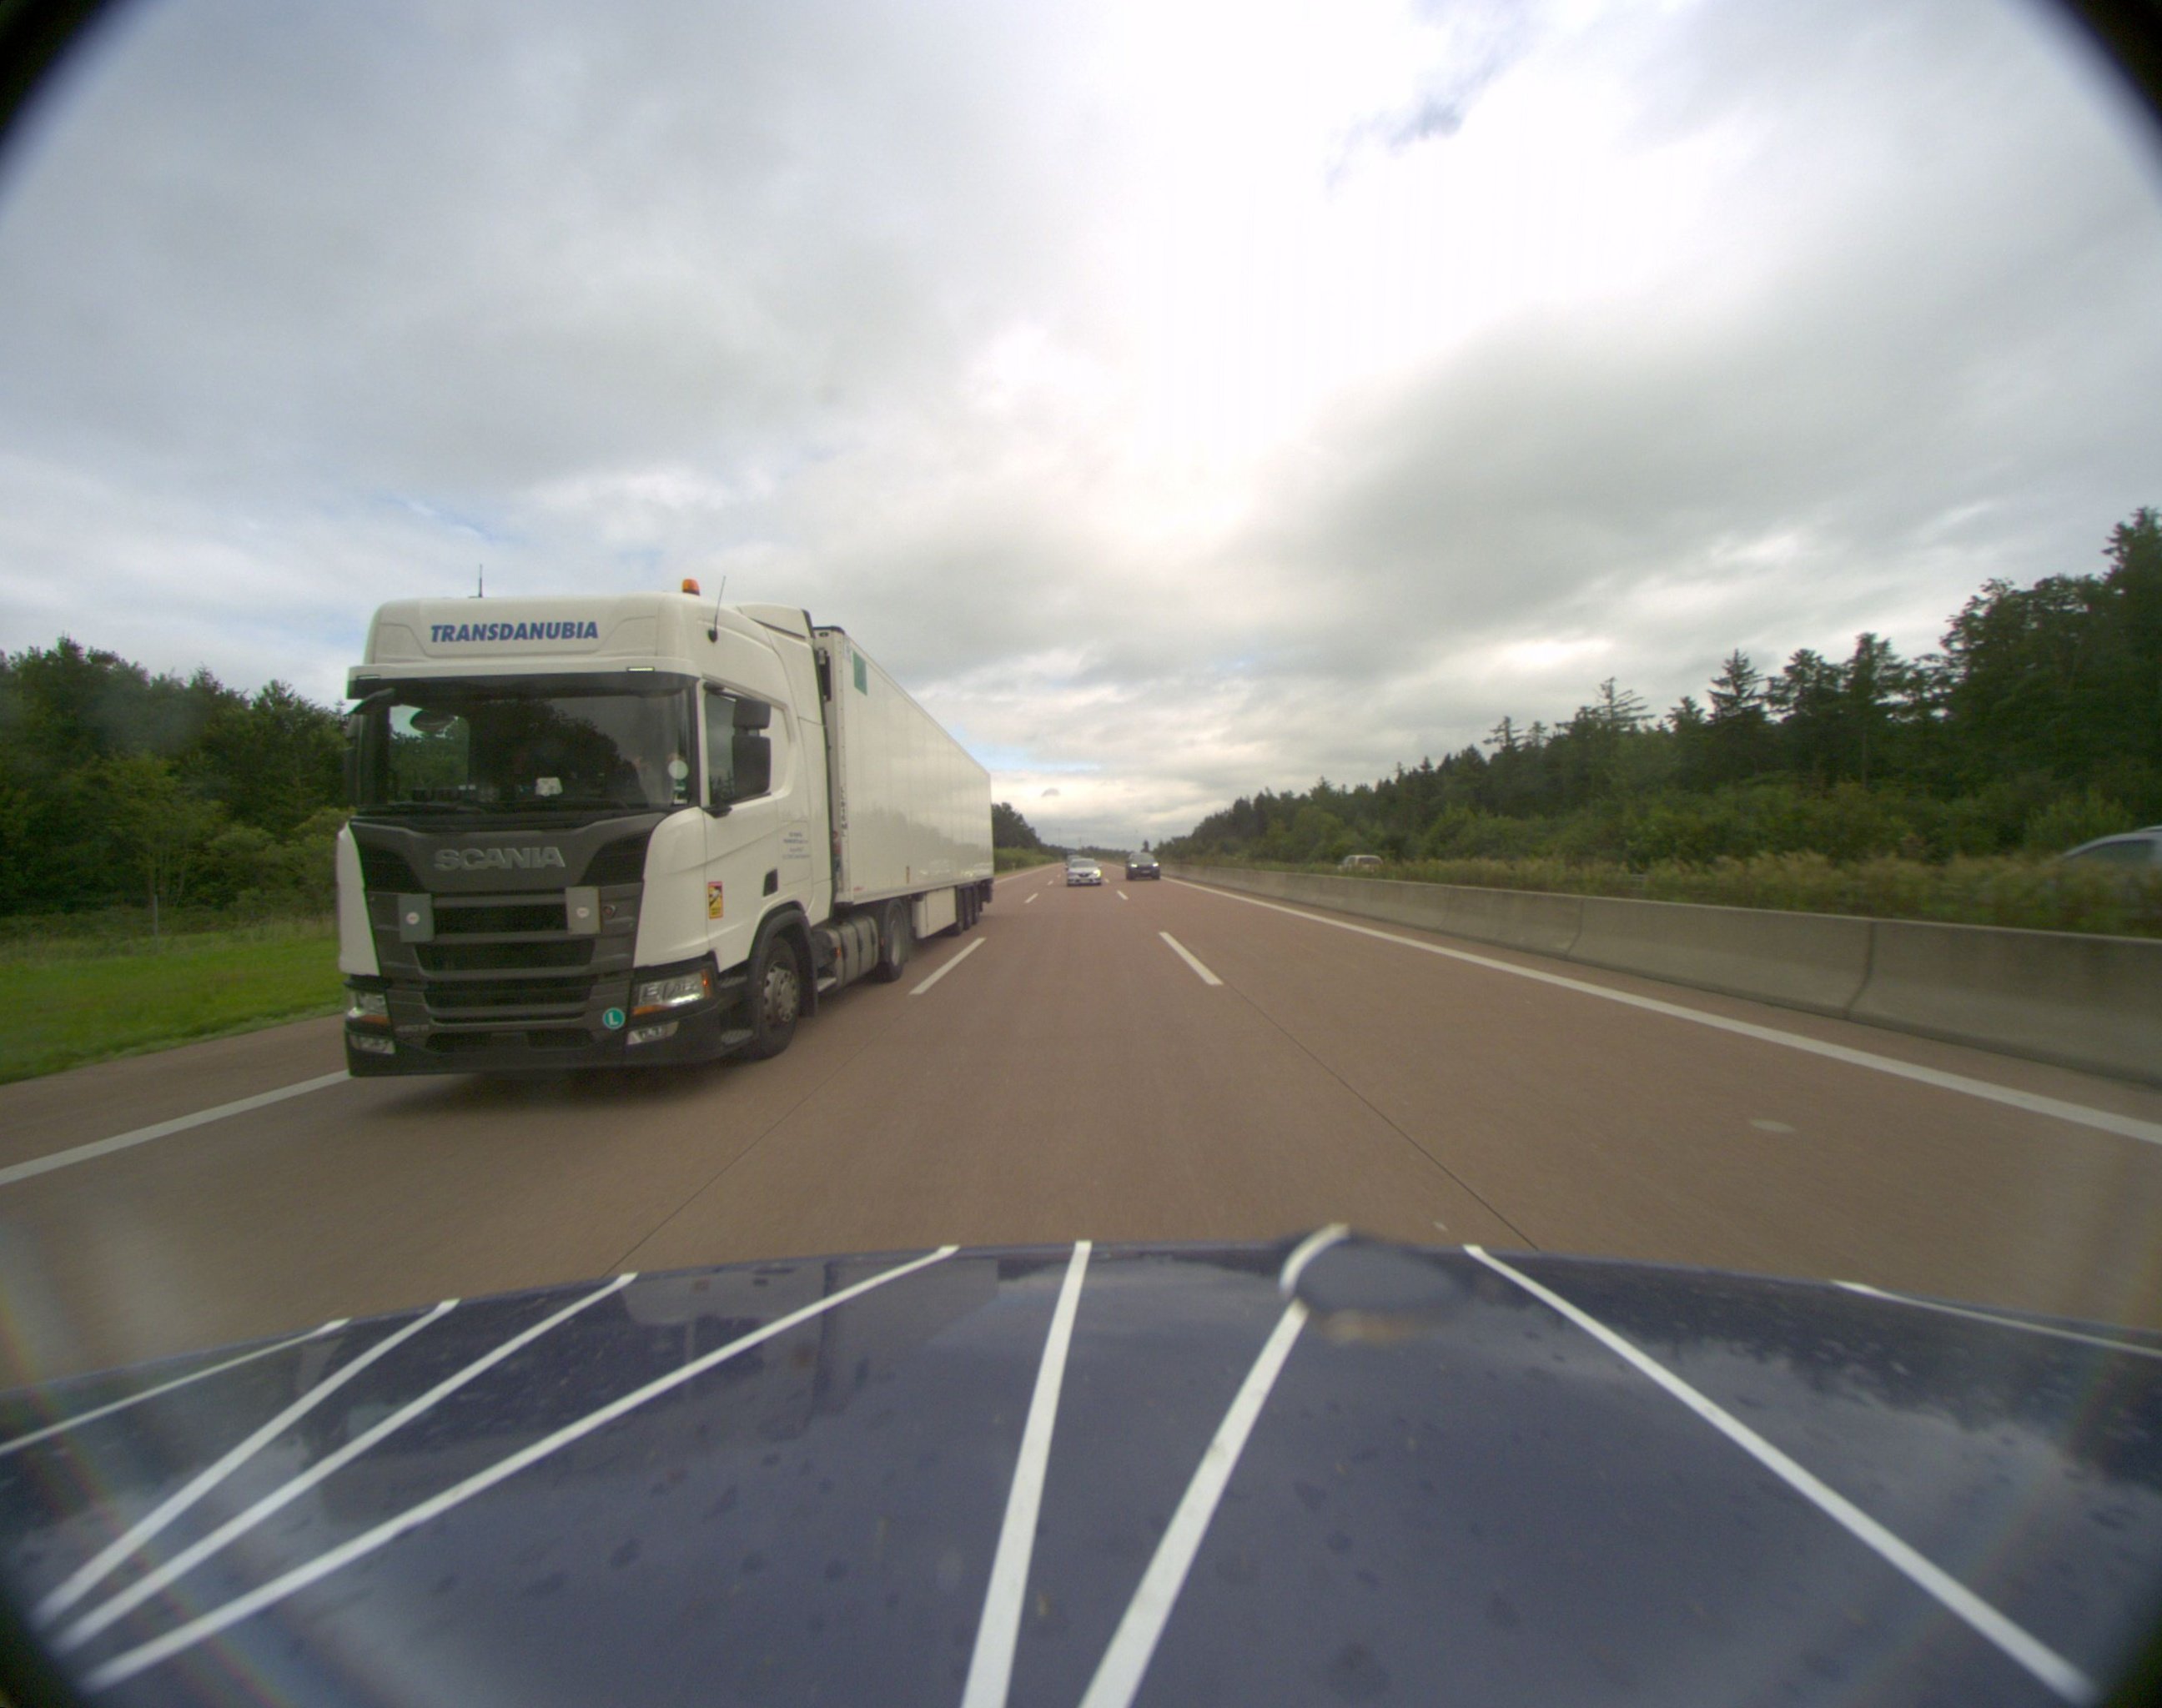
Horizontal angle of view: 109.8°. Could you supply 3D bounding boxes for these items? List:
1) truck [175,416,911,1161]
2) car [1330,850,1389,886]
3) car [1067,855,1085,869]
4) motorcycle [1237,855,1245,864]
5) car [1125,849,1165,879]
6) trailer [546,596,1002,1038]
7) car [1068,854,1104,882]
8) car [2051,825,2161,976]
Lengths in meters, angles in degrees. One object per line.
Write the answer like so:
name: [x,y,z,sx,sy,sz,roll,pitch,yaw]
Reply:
truck: [-3.728,-0.384,7.120,2.929,4.269,5.334,-2,0,0]
car: [15.133,0.727,41.424,1.788,1.762,3.753,-3,0,0]
car: [-0.545,0.862,88.123,1.986,1.499,4.052,-2,0,0]
motorcycle: [20.885,0.685,99.294,0.602,1.149,2.154,-3,0,0]
car: [3.890,0.583,47.146,1.998,1.689,5.252,-2,0,0]
trailer: [-3.719,-0.389,14.304,2.929,4.269,13.612,-2,0,0]
car: [0.337,0.803,44.934,1.923,1.515,4.001,-2,0,2]
car: [15.238,0.612,9.270,1.676,1.969,4.000,-3,0,1]
